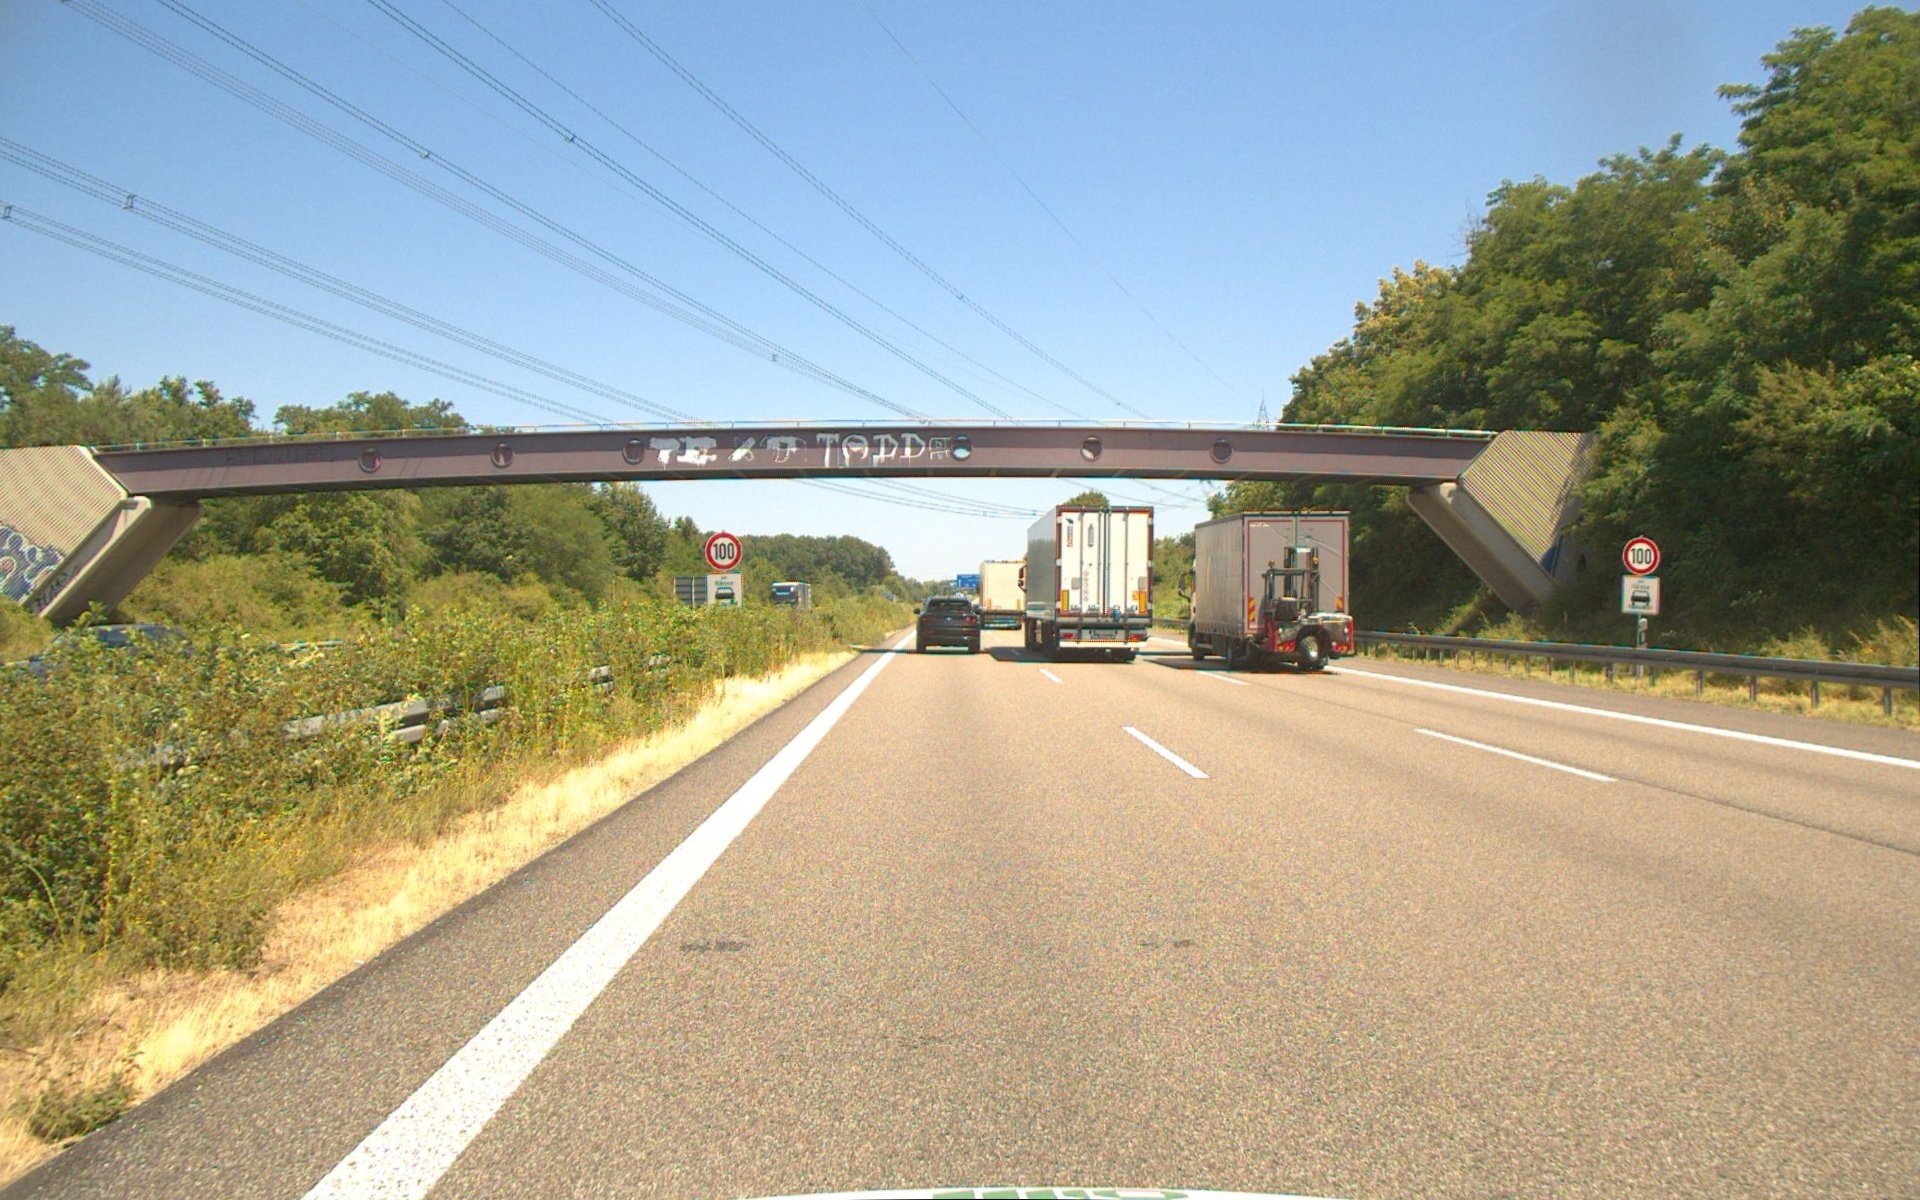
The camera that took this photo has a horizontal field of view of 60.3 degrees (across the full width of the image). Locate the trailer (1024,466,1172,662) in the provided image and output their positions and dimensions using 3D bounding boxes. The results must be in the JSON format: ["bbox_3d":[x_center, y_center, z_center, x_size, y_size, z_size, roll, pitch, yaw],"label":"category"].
[{"bbox_3d":[3.793,-0.892,48.606,3.024,4.970,12.255,1,0,-1],"label":"trailer"}]

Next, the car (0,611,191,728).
[{"bbox_3d":[-13.231,0.995,24.924,1.667,1.560,3.617,-2,0,-2],"label":"car"}]

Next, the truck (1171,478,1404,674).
[{"bbox_3d":[8.091,-0.504,42.911,3.498,4.319,11.649,1,0,-1],"label":"truck"}]

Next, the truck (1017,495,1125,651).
[{"bbox_3d":[3.683,-0.846,56.414,3.024,4.970,6.596,1,0,-1],"label":"truck"}]

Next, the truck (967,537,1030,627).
[{"bbox_3d":[2.269,-1.056,102.657,3.440,5.257,10.256,1,0,-1],"label":"truck"}]

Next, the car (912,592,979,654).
[{"bbox_3d":[-0.496,0.676,51.156,1.953,1.803,3.998,0,0,-2],"label":"car"}]

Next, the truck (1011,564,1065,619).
[{"bbox_3d":[6.887,-0.729,147.730,3.442,4.571,13.241,1,0,-3],"label":"truck"}]

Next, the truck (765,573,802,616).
[{"bbox_3d":[-18.271,-0.532,172.053,2.702,4.194,10.215,-1,0,0],"label":"truck"}]
